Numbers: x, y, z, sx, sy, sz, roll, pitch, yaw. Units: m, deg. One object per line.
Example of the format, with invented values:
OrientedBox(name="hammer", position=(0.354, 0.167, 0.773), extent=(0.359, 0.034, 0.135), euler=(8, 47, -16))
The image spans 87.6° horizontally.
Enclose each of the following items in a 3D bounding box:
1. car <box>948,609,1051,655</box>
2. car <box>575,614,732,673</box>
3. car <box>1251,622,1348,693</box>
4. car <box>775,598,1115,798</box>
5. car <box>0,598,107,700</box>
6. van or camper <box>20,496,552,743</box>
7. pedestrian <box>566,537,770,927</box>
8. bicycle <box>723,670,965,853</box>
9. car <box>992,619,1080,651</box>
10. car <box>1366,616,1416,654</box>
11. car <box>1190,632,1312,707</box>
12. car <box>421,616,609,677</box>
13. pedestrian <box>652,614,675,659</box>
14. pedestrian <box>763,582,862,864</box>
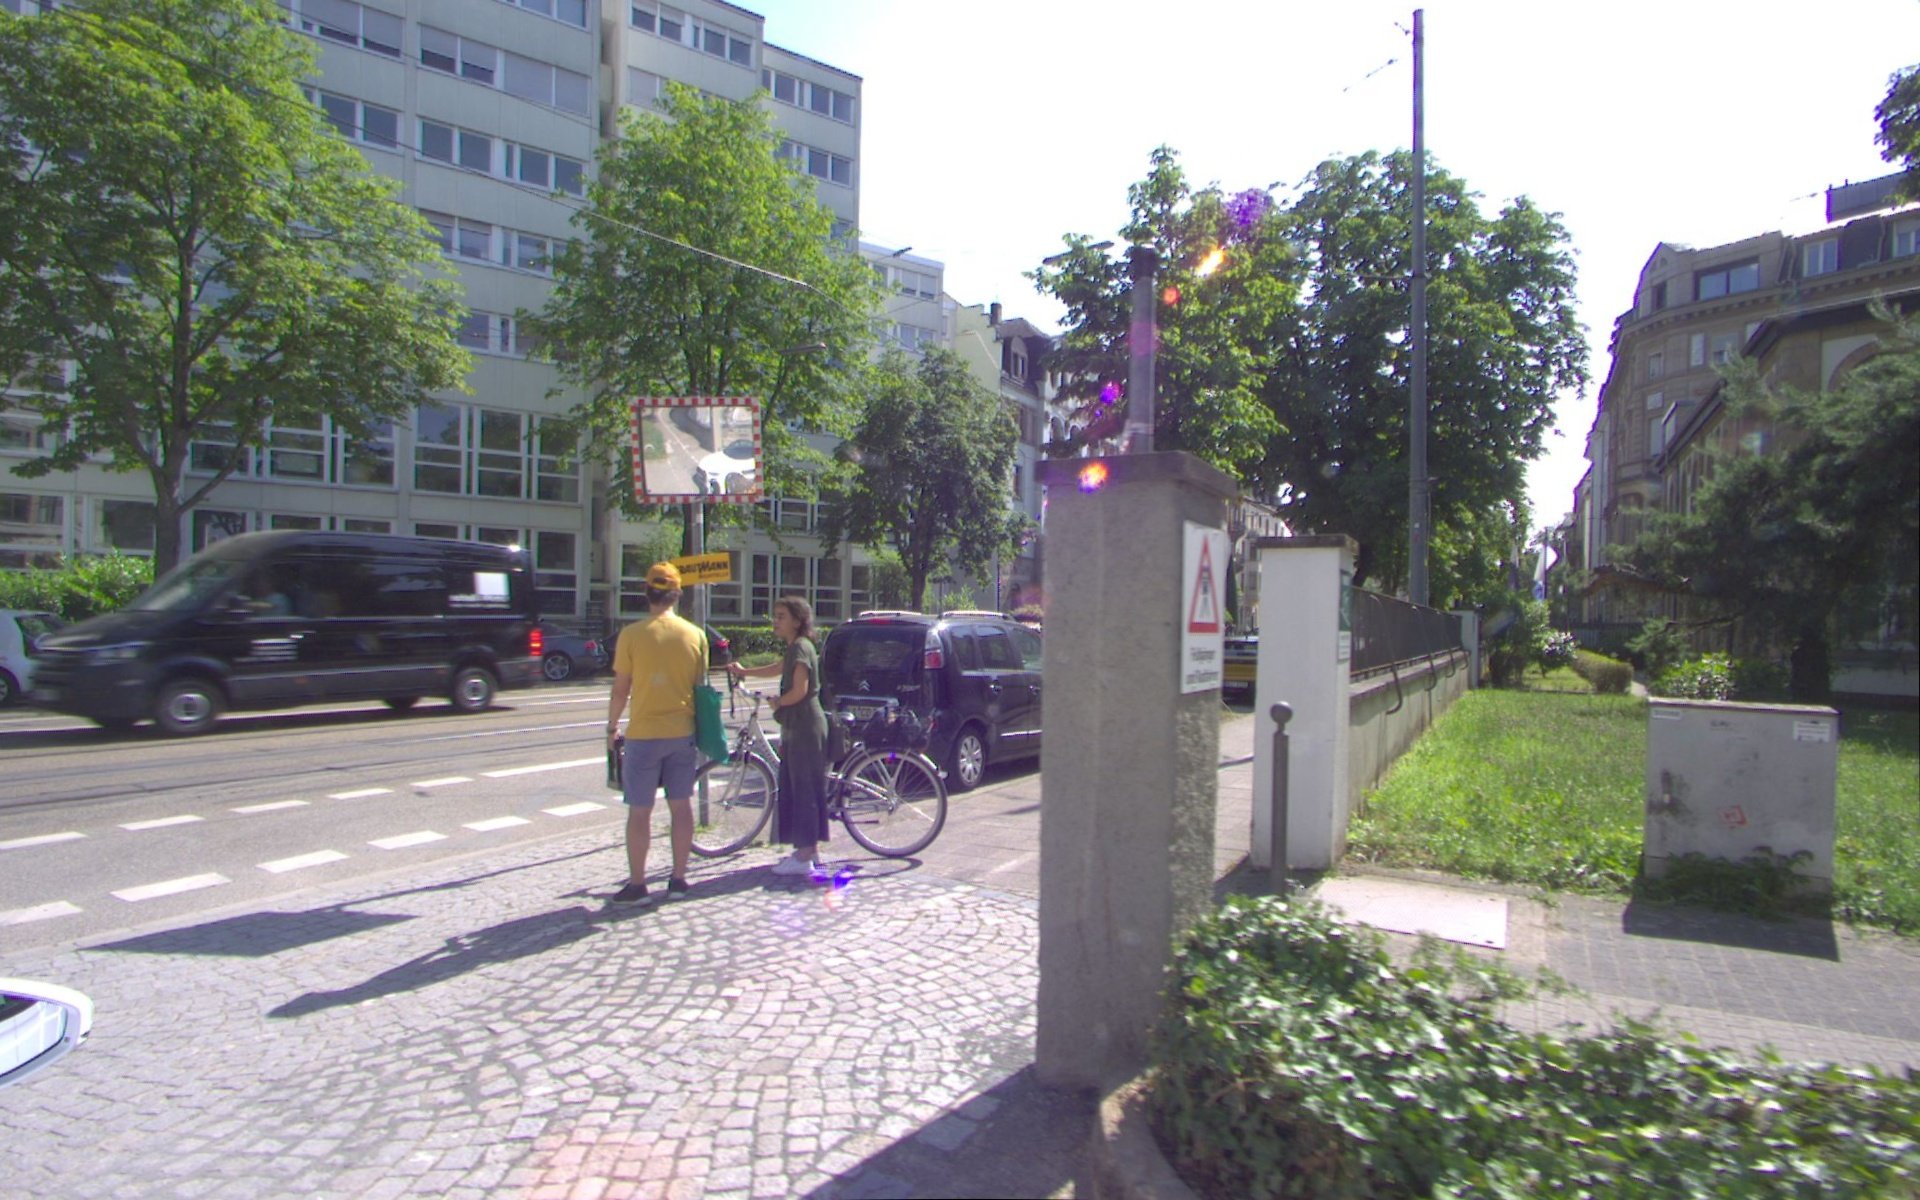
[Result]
OrientedBox(name="car", position=(1.696, 1.350, 42.897), extent=(3.935, 1.884, 1.994), euler=(1, 0, -23))
OrientedBox(name="car", position=(-8.135, 1.158, 26.796), extent=(3.875, 1.505, 1.556), euler=(1, 0, -16))
OrientedBox(name="car", position=(9.135, 1.467, 26.761), extent=(1.828, 1.702, 3.984), euler=(0, -1, 28))
OrientedBox(name="car", position=(0.046, 0.868, 10.740), extent=(1.830, 1.706, 3.981), euler=(0, -1, 31))
OrientedBox(name="car", position=(-15.728, 0.738, 15.206), extent=(3.874, 1.506, 1.611), euler=(0, 0, -15))
OrientedBox(name="van or camper", position=(-8.756, 0.254, 13.832), extent=(2.019, 2.654, 5.838), euler=(1, 0, 28))
OrientedBox(name="pedestrian", position=(-1.594, 0.646, 5.432), extent=(0.843, 1.889, 0.824), euler=(0, 0, -36))
OrientedBox(name="bicycle", position=(-0.738, 1.000, 6.390), extent=(1.484, 1.055, 0.363), euler=(1, 0, 12))
OrientedBox(name="car", position=(3.733, 1.723, 49.559), extent=(3.929, 1.528, 1.997), euler=(1, 0, -16))
OrientedBox(name="car", position=(20.259, 1.594, 46.996), extent=(1.828, 1.702, 3.984), euler=(0, -1, 28))
OrientedBox(name="car", position=(6.573, 1.469, 22.358), extent=(1.828, 1.430, 3.984), euler=(0, -1, 28))
OrientedBox(name="car", position=(-10.469, 1.088, 23.835), extent=(3.875, 1.375, 1.556), euler=(1, 0, -16))
OrientedBox(name="pedestrian", position=(-9.931, 1.201, 33.511), extent=(0.417, 1.480, 0.620), euler=(1, 0, 27))
OrientedBox(name="pedestrian", position=(-0.891, 0.729, 6.100), extent=(0.445, 1.642, 0.422), euler=(-2, -1, 12))
